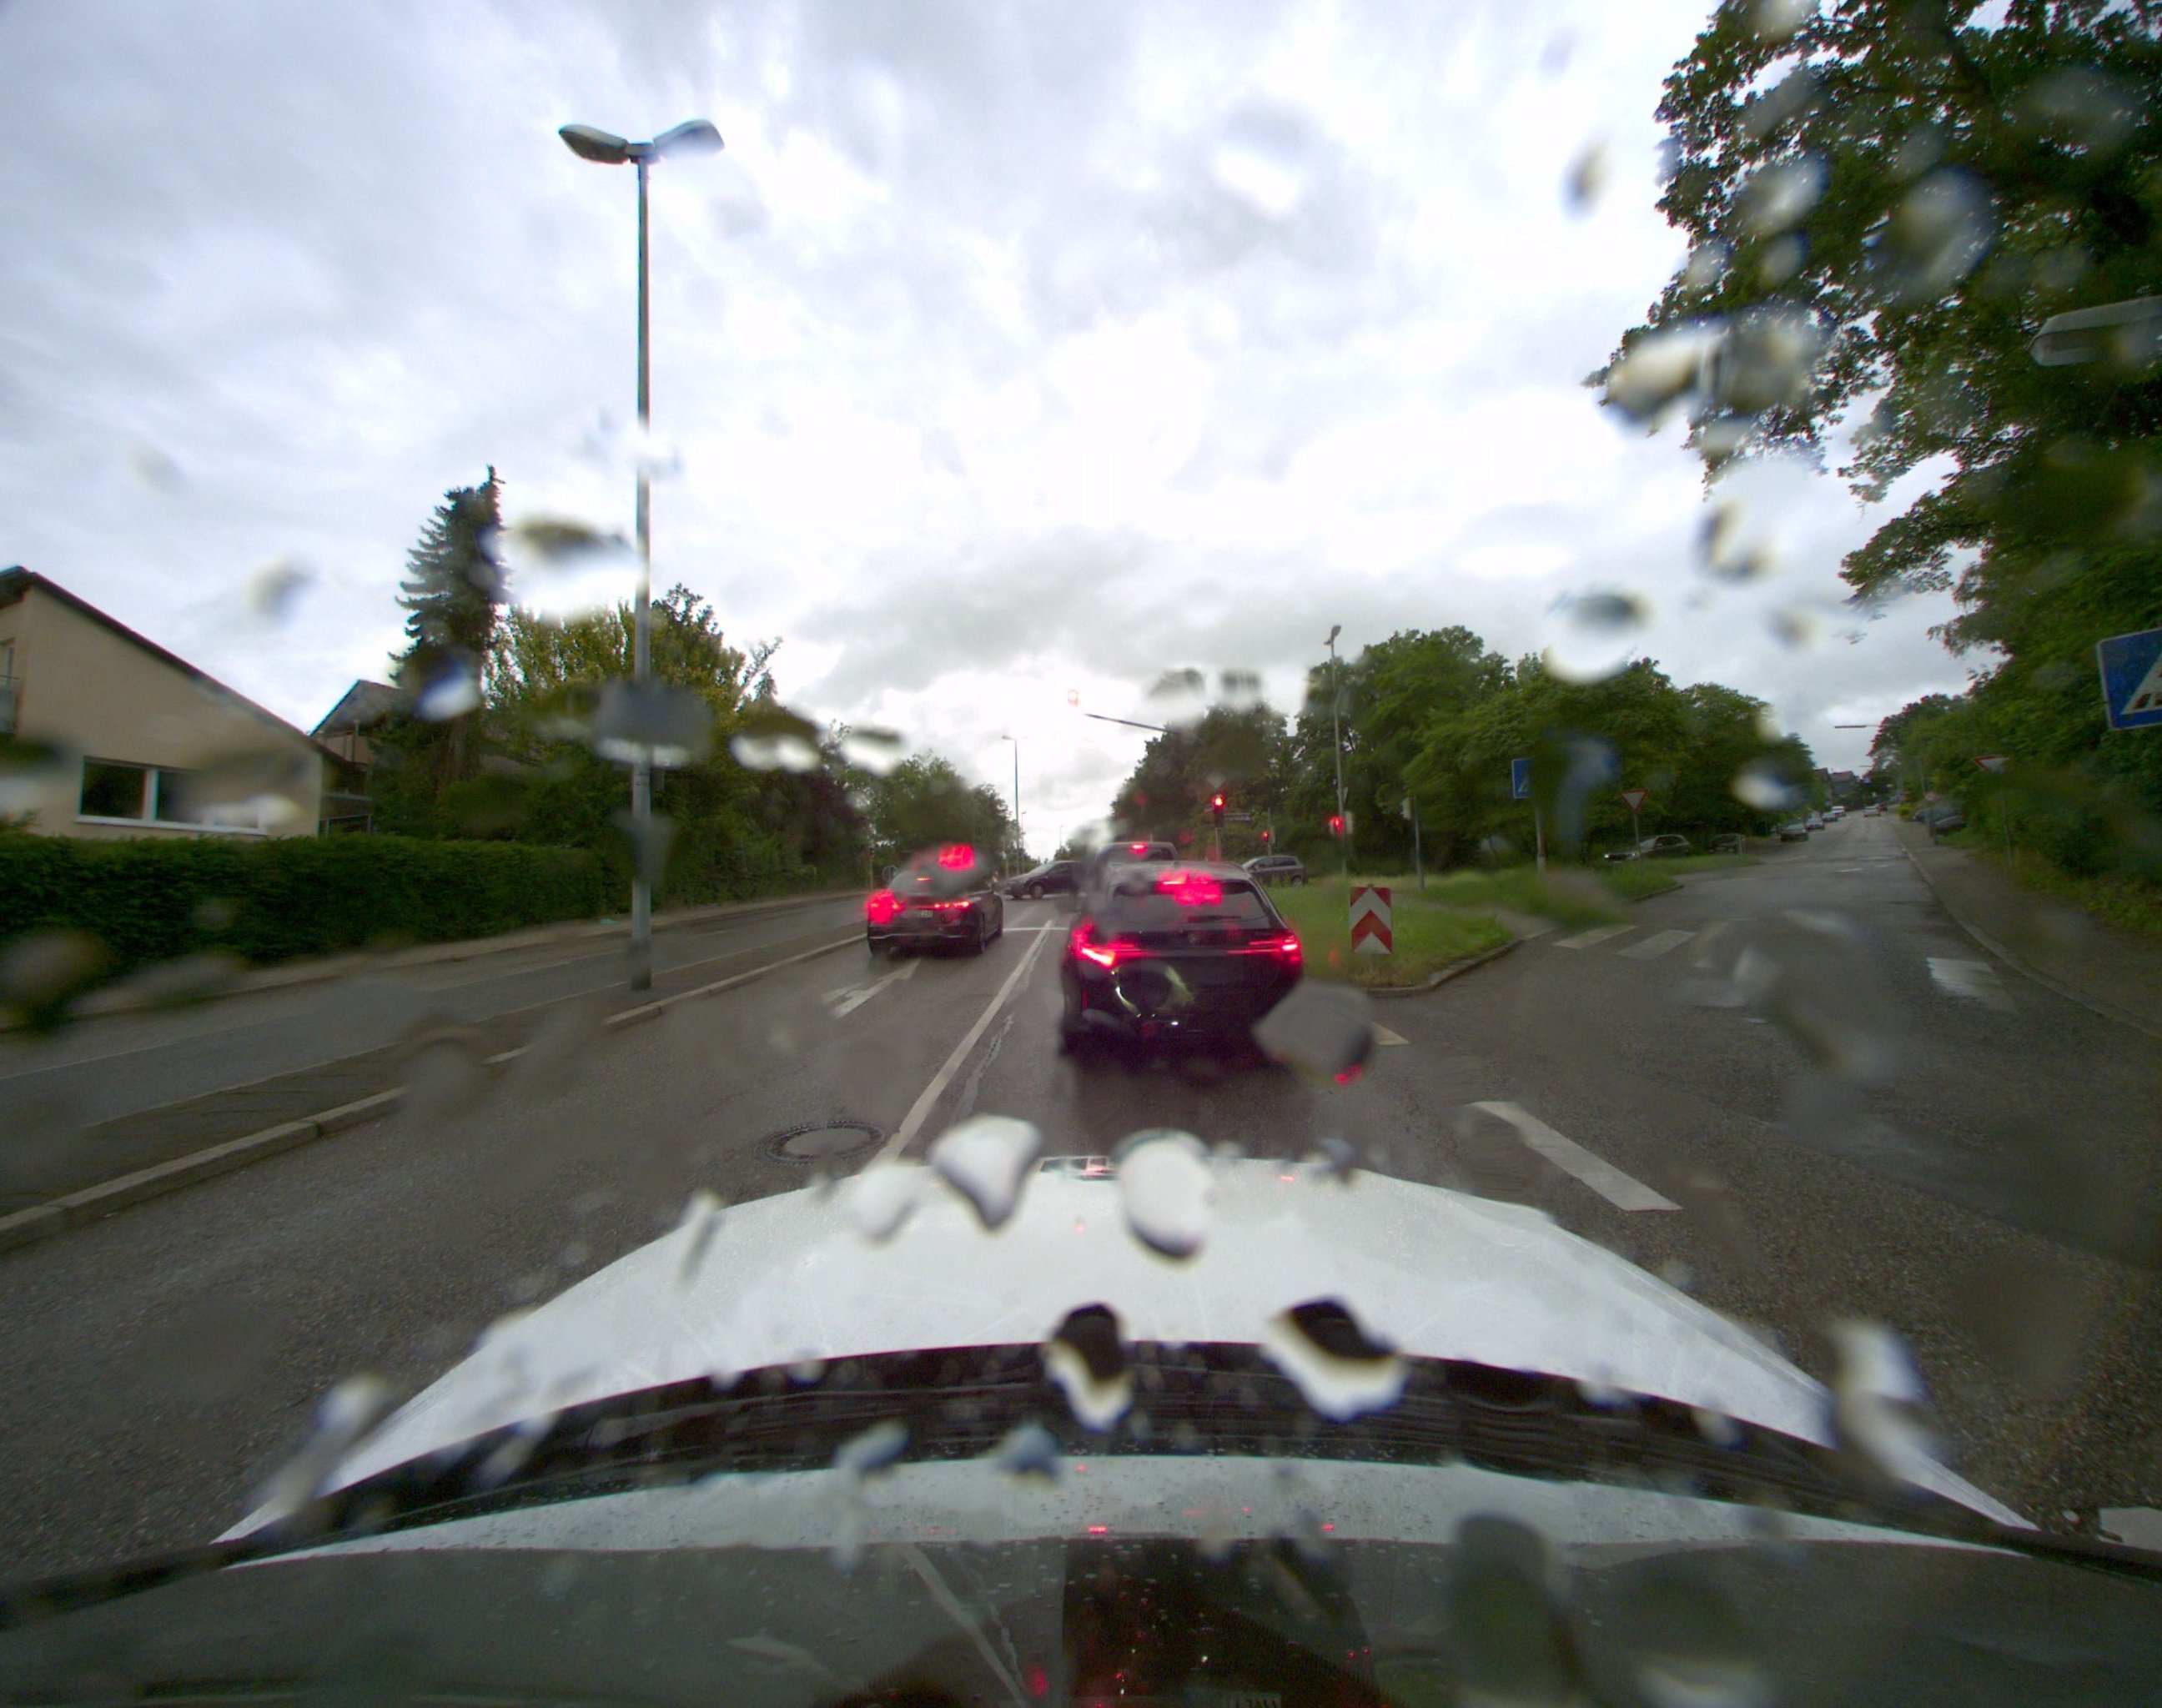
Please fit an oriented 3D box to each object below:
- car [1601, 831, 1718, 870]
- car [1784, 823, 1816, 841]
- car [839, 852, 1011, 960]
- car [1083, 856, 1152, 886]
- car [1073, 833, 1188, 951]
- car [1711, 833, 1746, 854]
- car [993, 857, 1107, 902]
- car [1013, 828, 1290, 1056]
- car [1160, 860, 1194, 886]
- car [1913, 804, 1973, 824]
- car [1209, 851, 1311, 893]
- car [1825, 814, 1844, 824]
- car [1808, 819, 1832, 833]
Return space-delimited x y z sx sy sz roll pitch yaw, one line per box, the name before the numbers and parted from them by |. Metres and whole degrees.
car | 29.119 -0.164 41.060 4.699 1.717 1.994 -3 -1 -8
car | 66.266 -1.986 75.031 4.318 1.450 1.881 0 -2 -44
car | -2.554 0.824 14.499 1.986 1.527 4.329 -3 -1 2
car | 1.923 0.911 43.932 1.712 1.427 3.471 -2 -1 -42
car | 0.872 0.638 15.020 1.811 1.868 3.954 -1 -1 2
car | 46.025 -0.743 57.889 1.655 1.370 3.511 -3 -1 43
car | -1.199 0.988 32.052 4.014 1.509 1.882 -3 -1 -32
car | 0.690 0.662 7.919 1.889 1.551 4.621 -1 -1 5
car | 6.329 1.238 53.979 1.866 1.543 3.954 -3 -1 2
car | 87.607 -4.045 82.835 3.949 1.574 1.785 -4 -2 42
car | 7.921 0.780 36.186 4.022 1.602 1.741 -3 -1 -12
car | 114.455 -5.301 123.747 1.880 1.397 4.193 -2 -2 40
car | 88.181 -3.342 97.188 1.971 1.446 4.321 -2 -2 40
